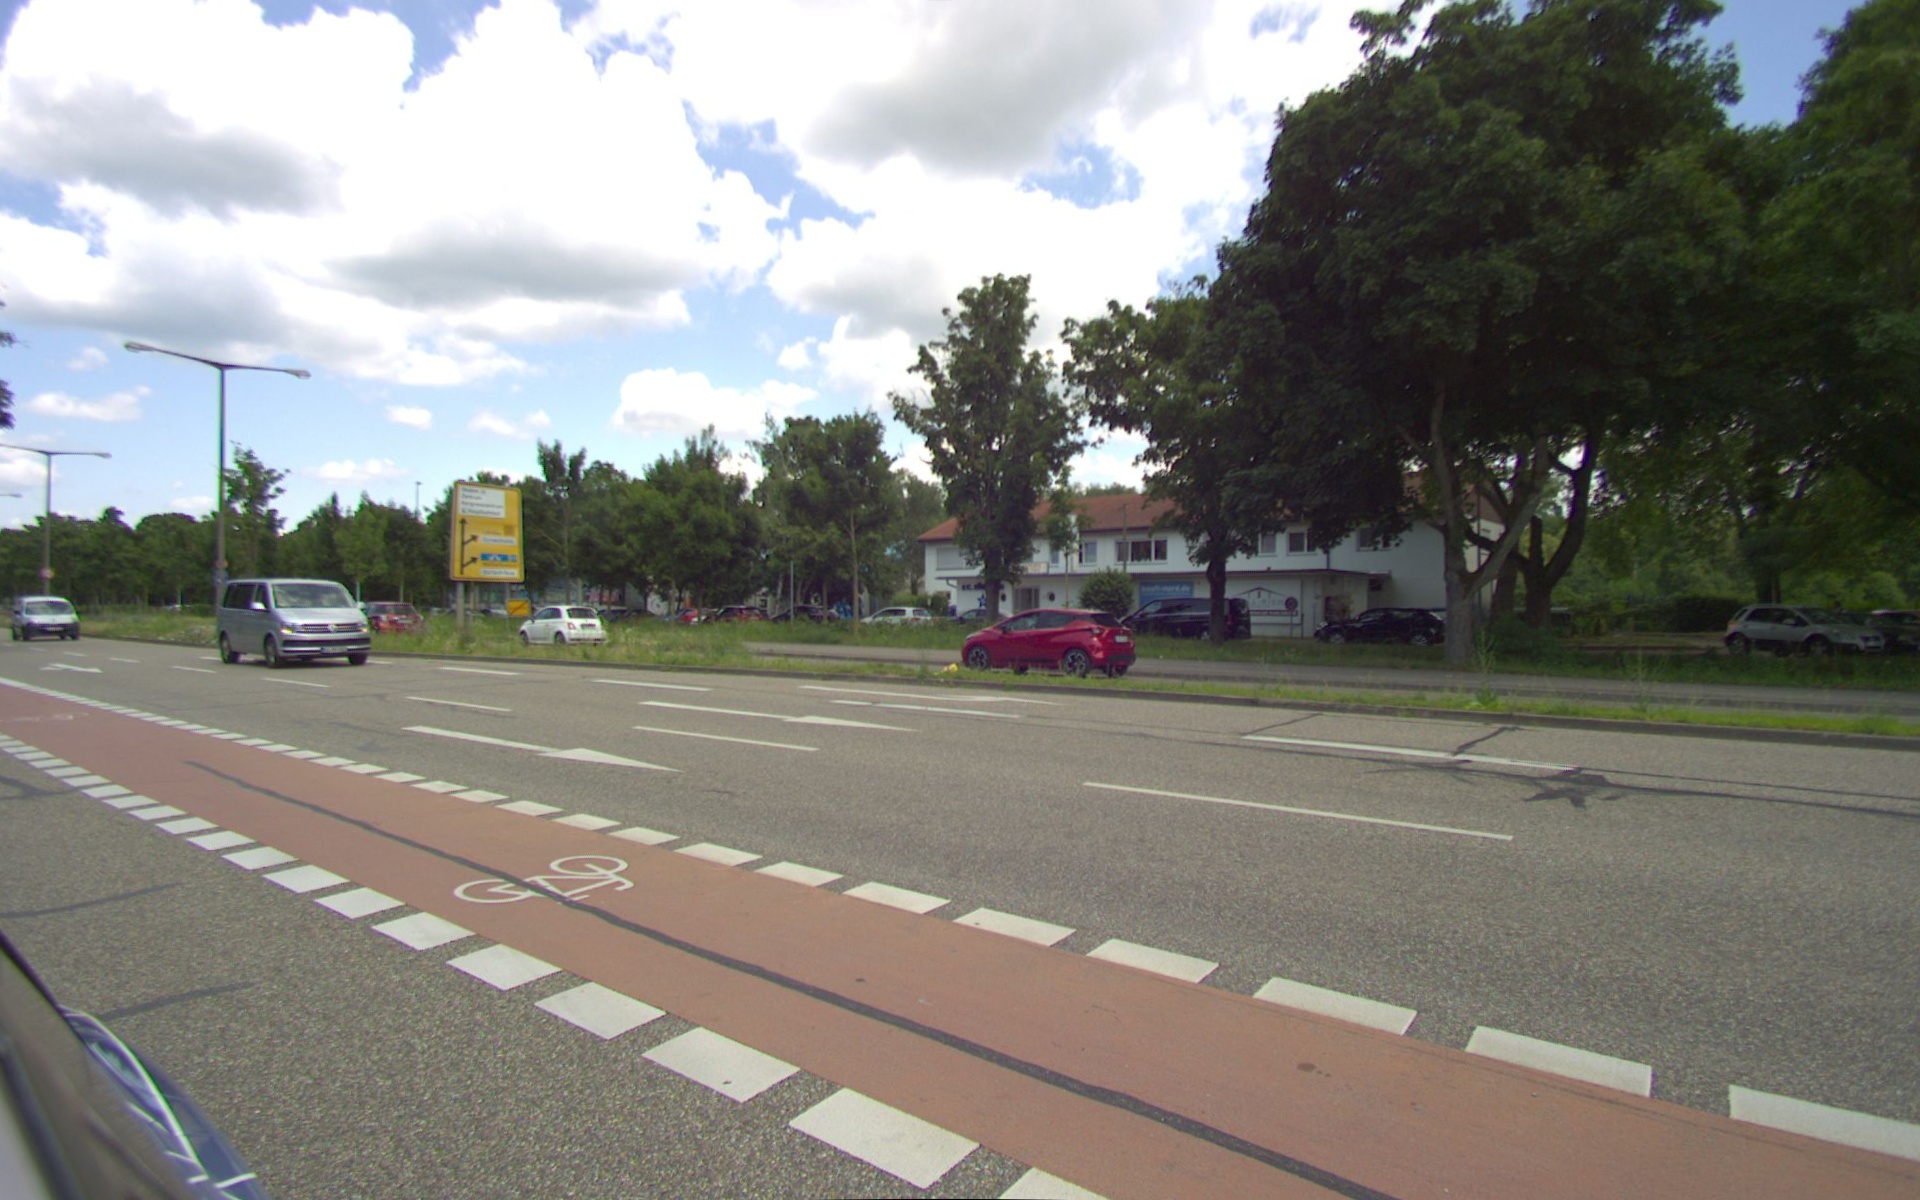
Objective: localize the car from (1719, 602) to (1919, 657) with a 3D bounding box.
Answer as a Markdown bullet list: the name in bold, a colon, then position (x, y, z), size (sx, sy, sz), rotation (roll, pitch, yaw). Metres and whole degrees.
- **car**: position (24.731, 0.826, 29.321), size (1.967, 1.495, 4.033), rotation (0, -1, -13)

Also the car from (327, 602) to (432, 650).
- **car**: position (-20.950, 0.923, 36.485), size (3.996, 1.630, 1.974), rotation (-1, -1, 39)

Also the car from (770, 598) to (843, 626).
- **car**: position (-8.118, 0.656, 53.442), size (3.864, 1.422, 1.707), rotation (-1, -1, 41)

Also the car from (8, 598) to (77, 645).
- **car**: position (-37.638, 0.845, 41.483), size (4.155, 1.799, 1.724), rotation (0, 0, 42)

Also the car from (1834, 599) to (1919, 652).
- **car**: position (29.507, 0.780, 30.737), size (1.967, 1.600, 4.033), rotation (0, -2, -13)

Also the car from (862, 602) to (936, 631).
- **car**: position (-2.989, 0.792, 49.133), size (3.475, 1.342, 1.604), rotation (-1, -1, 41)

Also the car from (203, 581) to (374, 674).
- **car**: position (-15.531, 0.597, 23.293), size (5.226, 1.933, 1.795), rotation (0, -1, 39)

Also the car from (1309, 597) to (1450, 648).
- **car**: position (14.532, 0.733, 35.123), size (4.347, 1.669, 1.794), rotation (0, 0, 30)

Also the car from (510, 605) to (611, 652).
- **car**: position (-13.475, 0.919, 34.100), size (3.589, 1.456, 1.596), rotation (0, 0, 38)

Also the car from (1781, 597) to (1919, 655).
- **car**: position (27.221, 0.750, 30.030), size (1.967, 1.600, 4.033), rotation (0, -1, -13)

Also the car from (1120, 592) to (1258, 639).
- **car**: position (8.778, 0.587, 39.114), size (4.927, 1.724, 1.863), rotation (-1, -1, 41)

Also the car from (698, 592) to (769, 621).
- **car**: position (-12.923, 0.398, 57.628), size (4.021, 1.600, 1.973), rotation (-1, -1, 41)

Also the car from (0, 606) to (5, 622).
- **car**: position (-85.482, 1.221, 89.059), size (3.689, 1.457, 1.665), rotation (-1, -1, 39)

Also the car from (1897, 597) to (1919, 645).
- **car**: position (31.932, 0.659, 31.181), size (1.967, 1.557, 4.033), rotation (0, -1, -13)

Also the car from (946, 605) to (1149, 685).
- **car**: position (1.833, 0.897, 21.810), size (3.995, 1.523, 1.869), rotation (0, 0, 38)

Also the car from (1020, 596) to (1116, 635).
- **car**: position (4.573, 0.662, 43.048), size (3.664, 1.600, 1.896), rotation (-1, -1, 41)

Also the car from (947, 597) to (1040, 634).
- **car**: position (1.495, 0.696, 45.609), size (4.021, 1.600, 1.739), rotation (-1, -1, 41)
